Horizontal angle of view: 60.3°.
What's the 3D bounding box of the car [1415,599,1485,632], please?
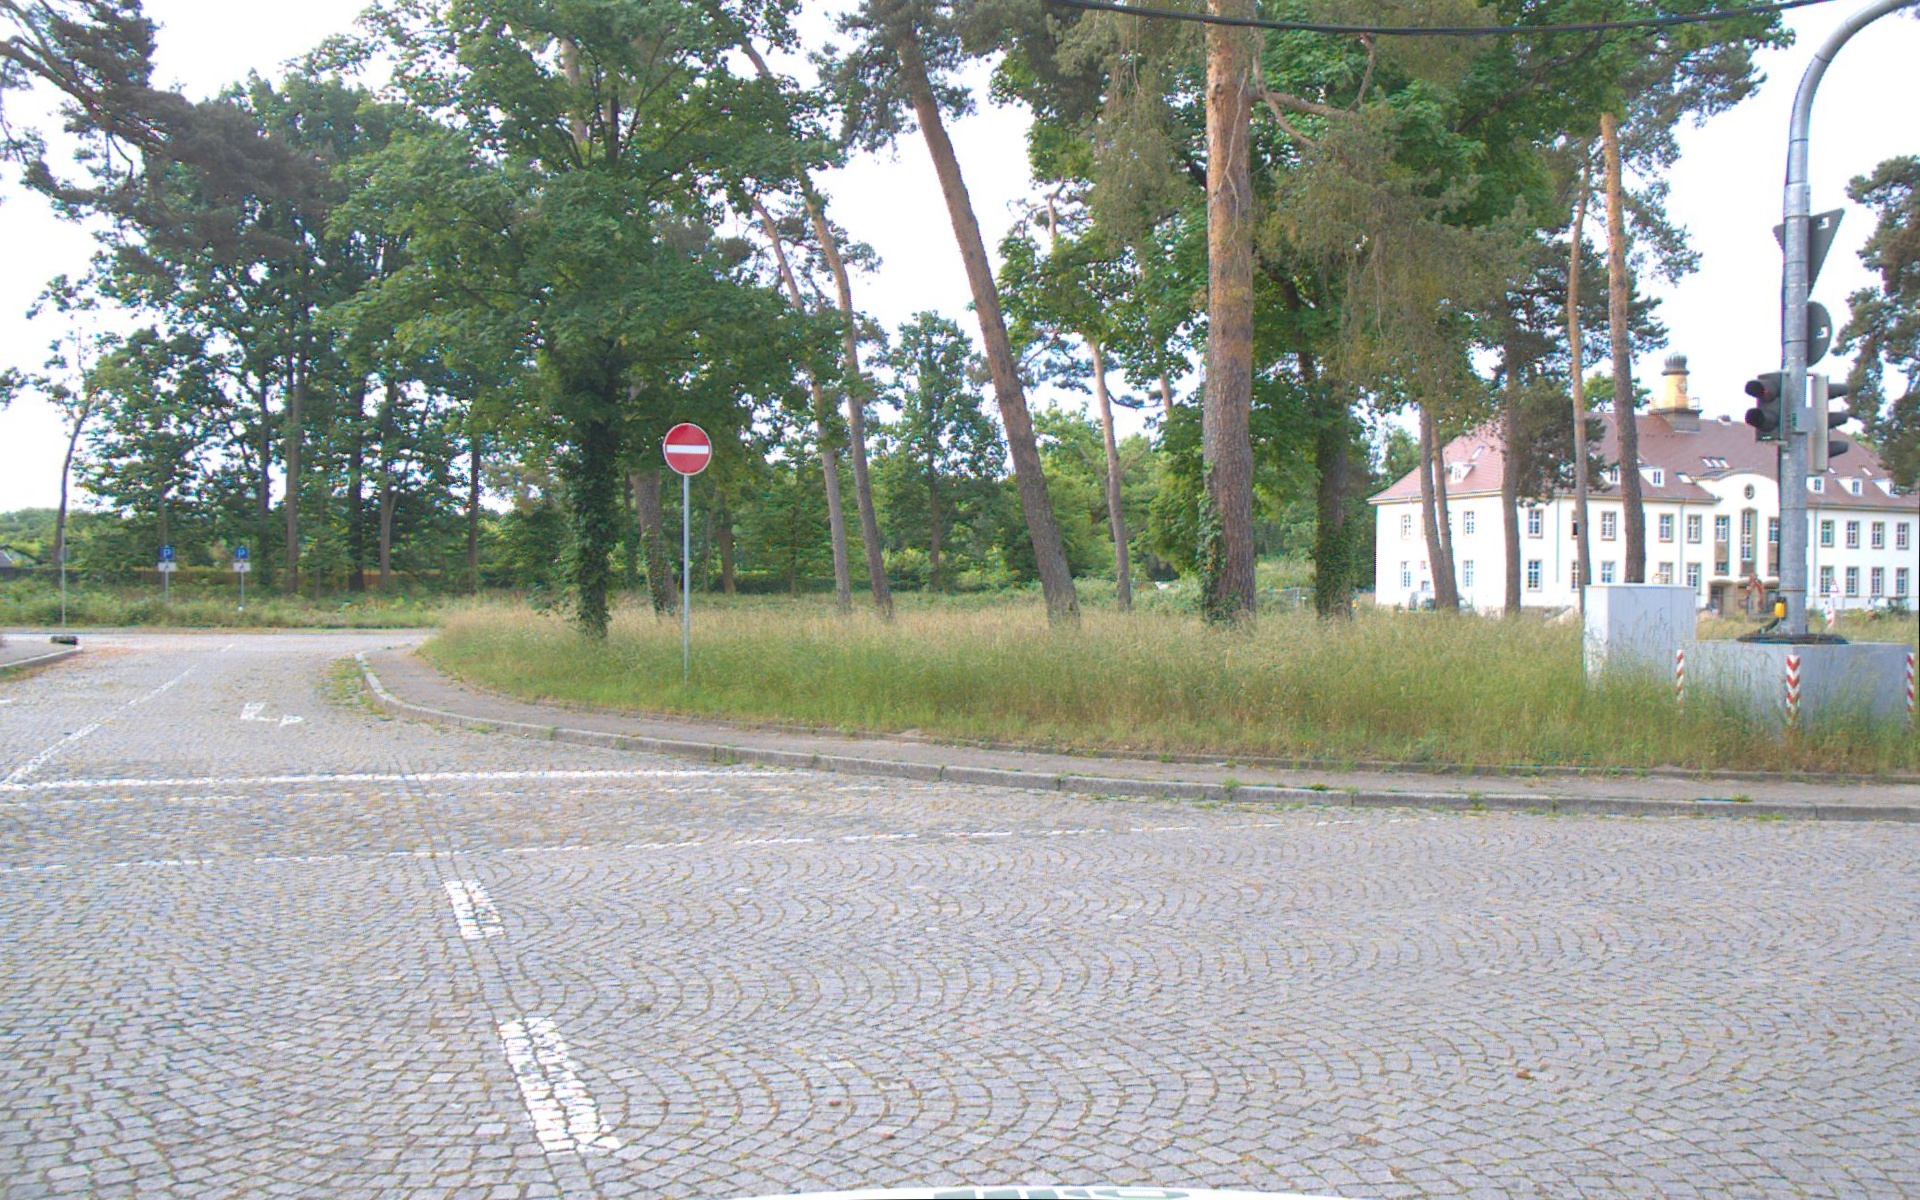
[{"bbox_3d":[35.744,1.111,120.821,1.971,2.238,4.991,0,0,-28],"label":"car"}]
